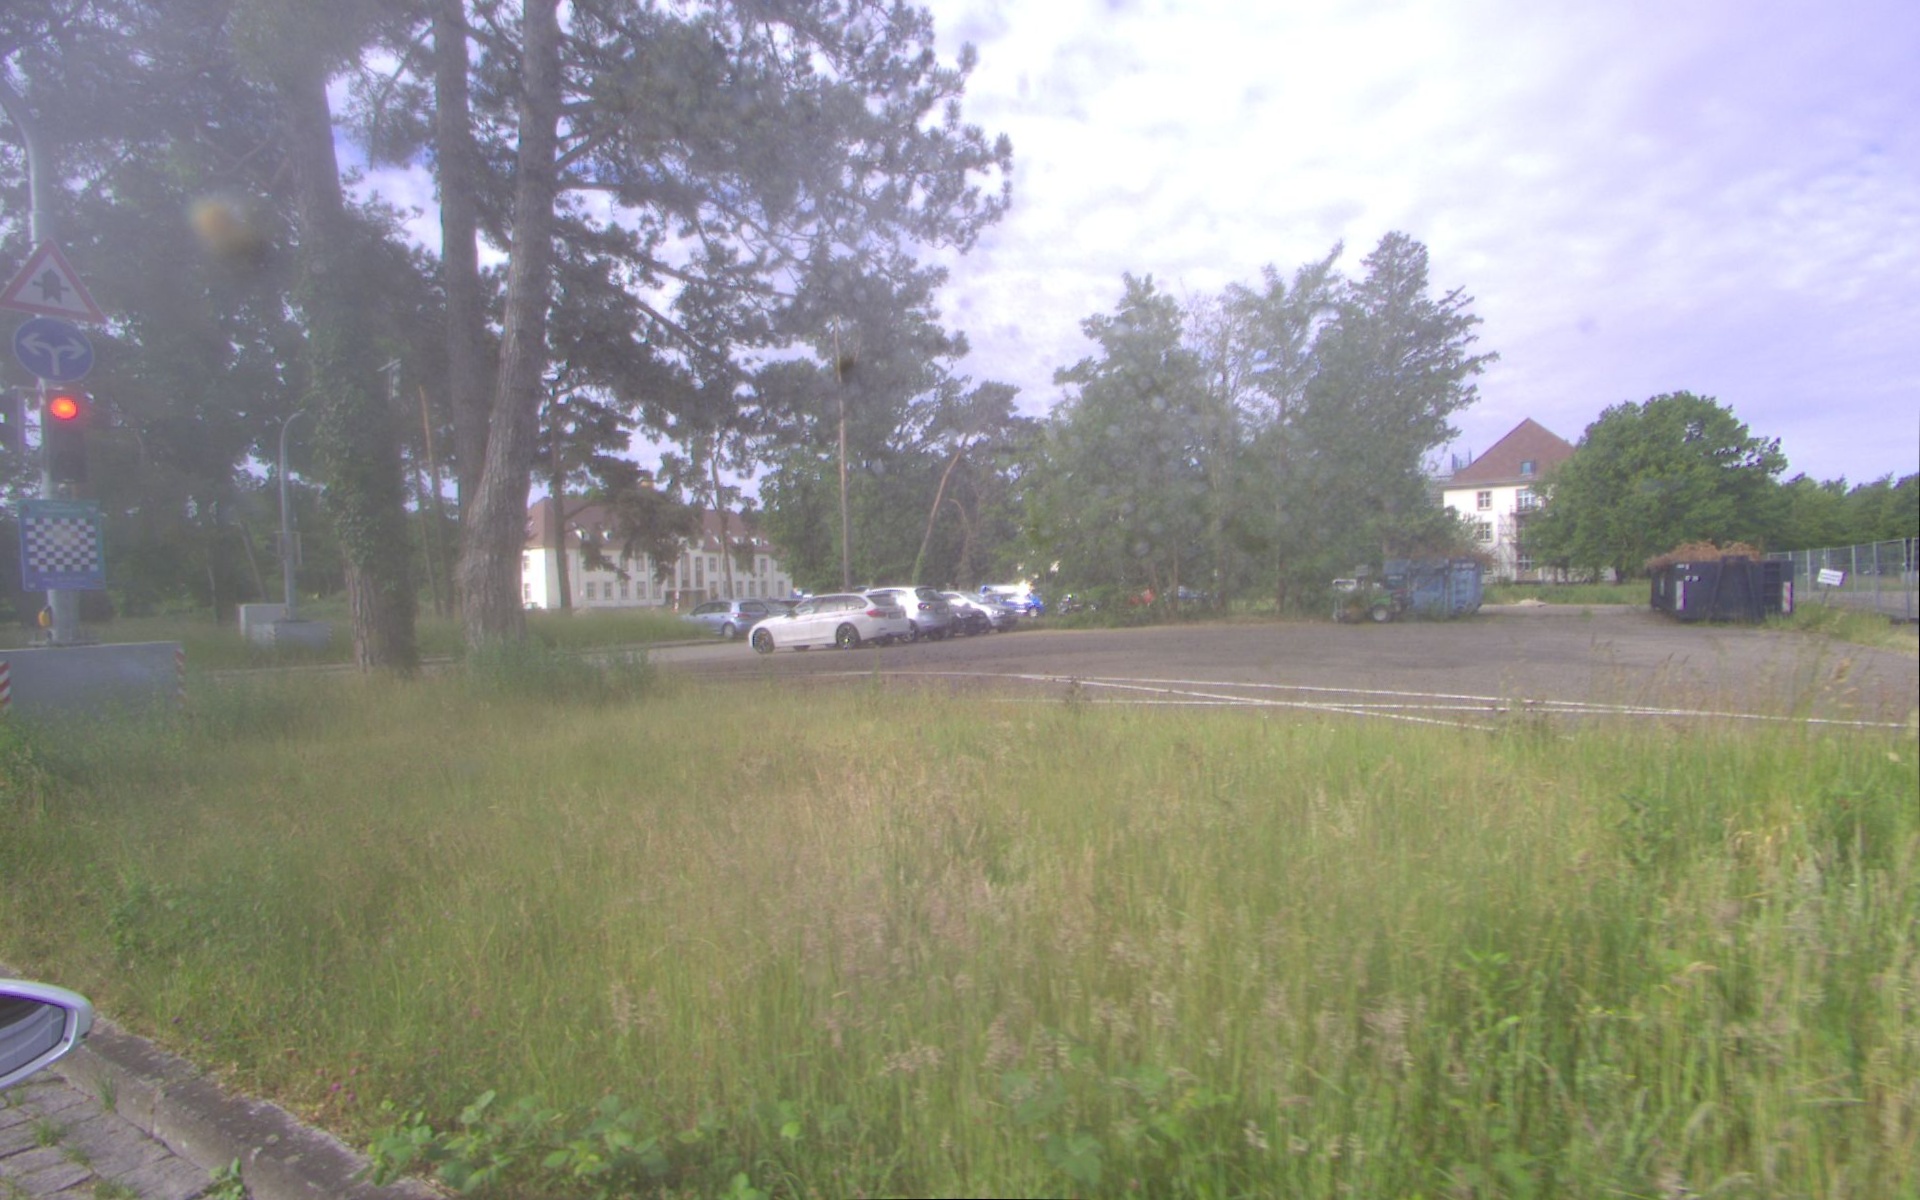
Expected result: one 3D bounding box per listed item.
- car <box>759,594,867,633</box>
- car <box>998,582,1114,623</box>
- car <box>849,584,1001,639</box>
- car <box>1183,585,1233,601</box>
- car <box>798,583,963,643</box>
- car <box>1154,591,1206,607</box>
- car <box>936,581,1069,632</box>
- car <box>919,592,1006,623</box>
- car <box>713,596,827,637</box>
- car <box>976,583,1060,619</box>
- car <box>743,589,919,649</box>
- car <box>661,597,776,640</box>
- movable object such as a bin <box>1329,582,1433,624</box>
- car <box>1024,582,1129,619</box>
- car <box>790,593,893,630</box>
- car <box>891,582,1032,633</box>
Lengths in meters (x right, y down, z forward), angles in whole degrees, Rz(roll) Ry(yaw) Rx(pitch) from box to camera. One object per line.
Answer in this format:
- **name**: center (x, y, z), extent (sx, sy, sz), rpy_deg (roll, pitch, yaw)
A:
- **car**: center (-6.267, 0.573, 42.688), extent (4.380, 1.544, 1.750), rpy_deg (-1, 1, 29)
- **car**: center (3.966, 0.118, 41.412), extent (4.380, 1.598, 1.864), rpy_deg (-1, 1, 29)
- **car**: center (-1.115, 0.352, 31.086), extent (4.380, 1.598, 1.864), rpy_deg (-1, 1, 29)
- **car**: center (21.432, -0.614, 86.575), extent (3.937, 1.226, 1.656), rpy_deg (-1, 1, 27)
- **car**: center (-2.294, 0.360, 28.649), extent (4.380, 1.598, 1.864), rpy_deg (-1, 1, 29)
- **car**: center (18.279, -0.117, 83.305), extent (3.937, 1.226, 1.656), rpy_deg (-1, 1, 27)
- **car**: center (1.495, 0.226, 35.741), extent (4.380, 1.709, 1.864), rpy_deg (-1, 1, 29)
- **car**: center (0.116, 0.404, 54.370), extent (4.380, 1.544, 1.750), rpy_deg (-1, 1, 29)
- **car**: center (-7.690, 0.661, 40.447), extent (4.379, 1.544, 1.750), rpy_deg (-1, 1, 28)
- **car**: center (3.360, 0.065, 58.189), extent (4.586, 1.994, 1.750), rpy_deg (-1, 1, 29)
- **car**: center (-3.414, 0.507, 26.310), extent (4.380, 1.434, 1.750), rpy_deg (-2, 1, 29)
- **car**: center (-9.331, 0.704, 38.601), extent (4.386, 1.545, 1.747), rpy_deg (-1, 1, 34)
- **movable object such as a bin**: center (11.515, 0.051, 27.426), extent (2.505, 1.098, 1.060), rpy_deg (0, 2, 31)
- **car**: center (5.279, 0.024, 45.554), extent (4.380, 1.598, 1.864), rpy_deg (-1, 1, 29)
- **car**: center (-5.373, 0.530, 45.264), extent (4.380, 1.544, 1.750), rpy_deg (-1, 1, 29)
- **car**: center (0.026, 0.250, 33.642), extent (4.380, 1.598, 1.864), rpy_deg (-1, 1, 29)
